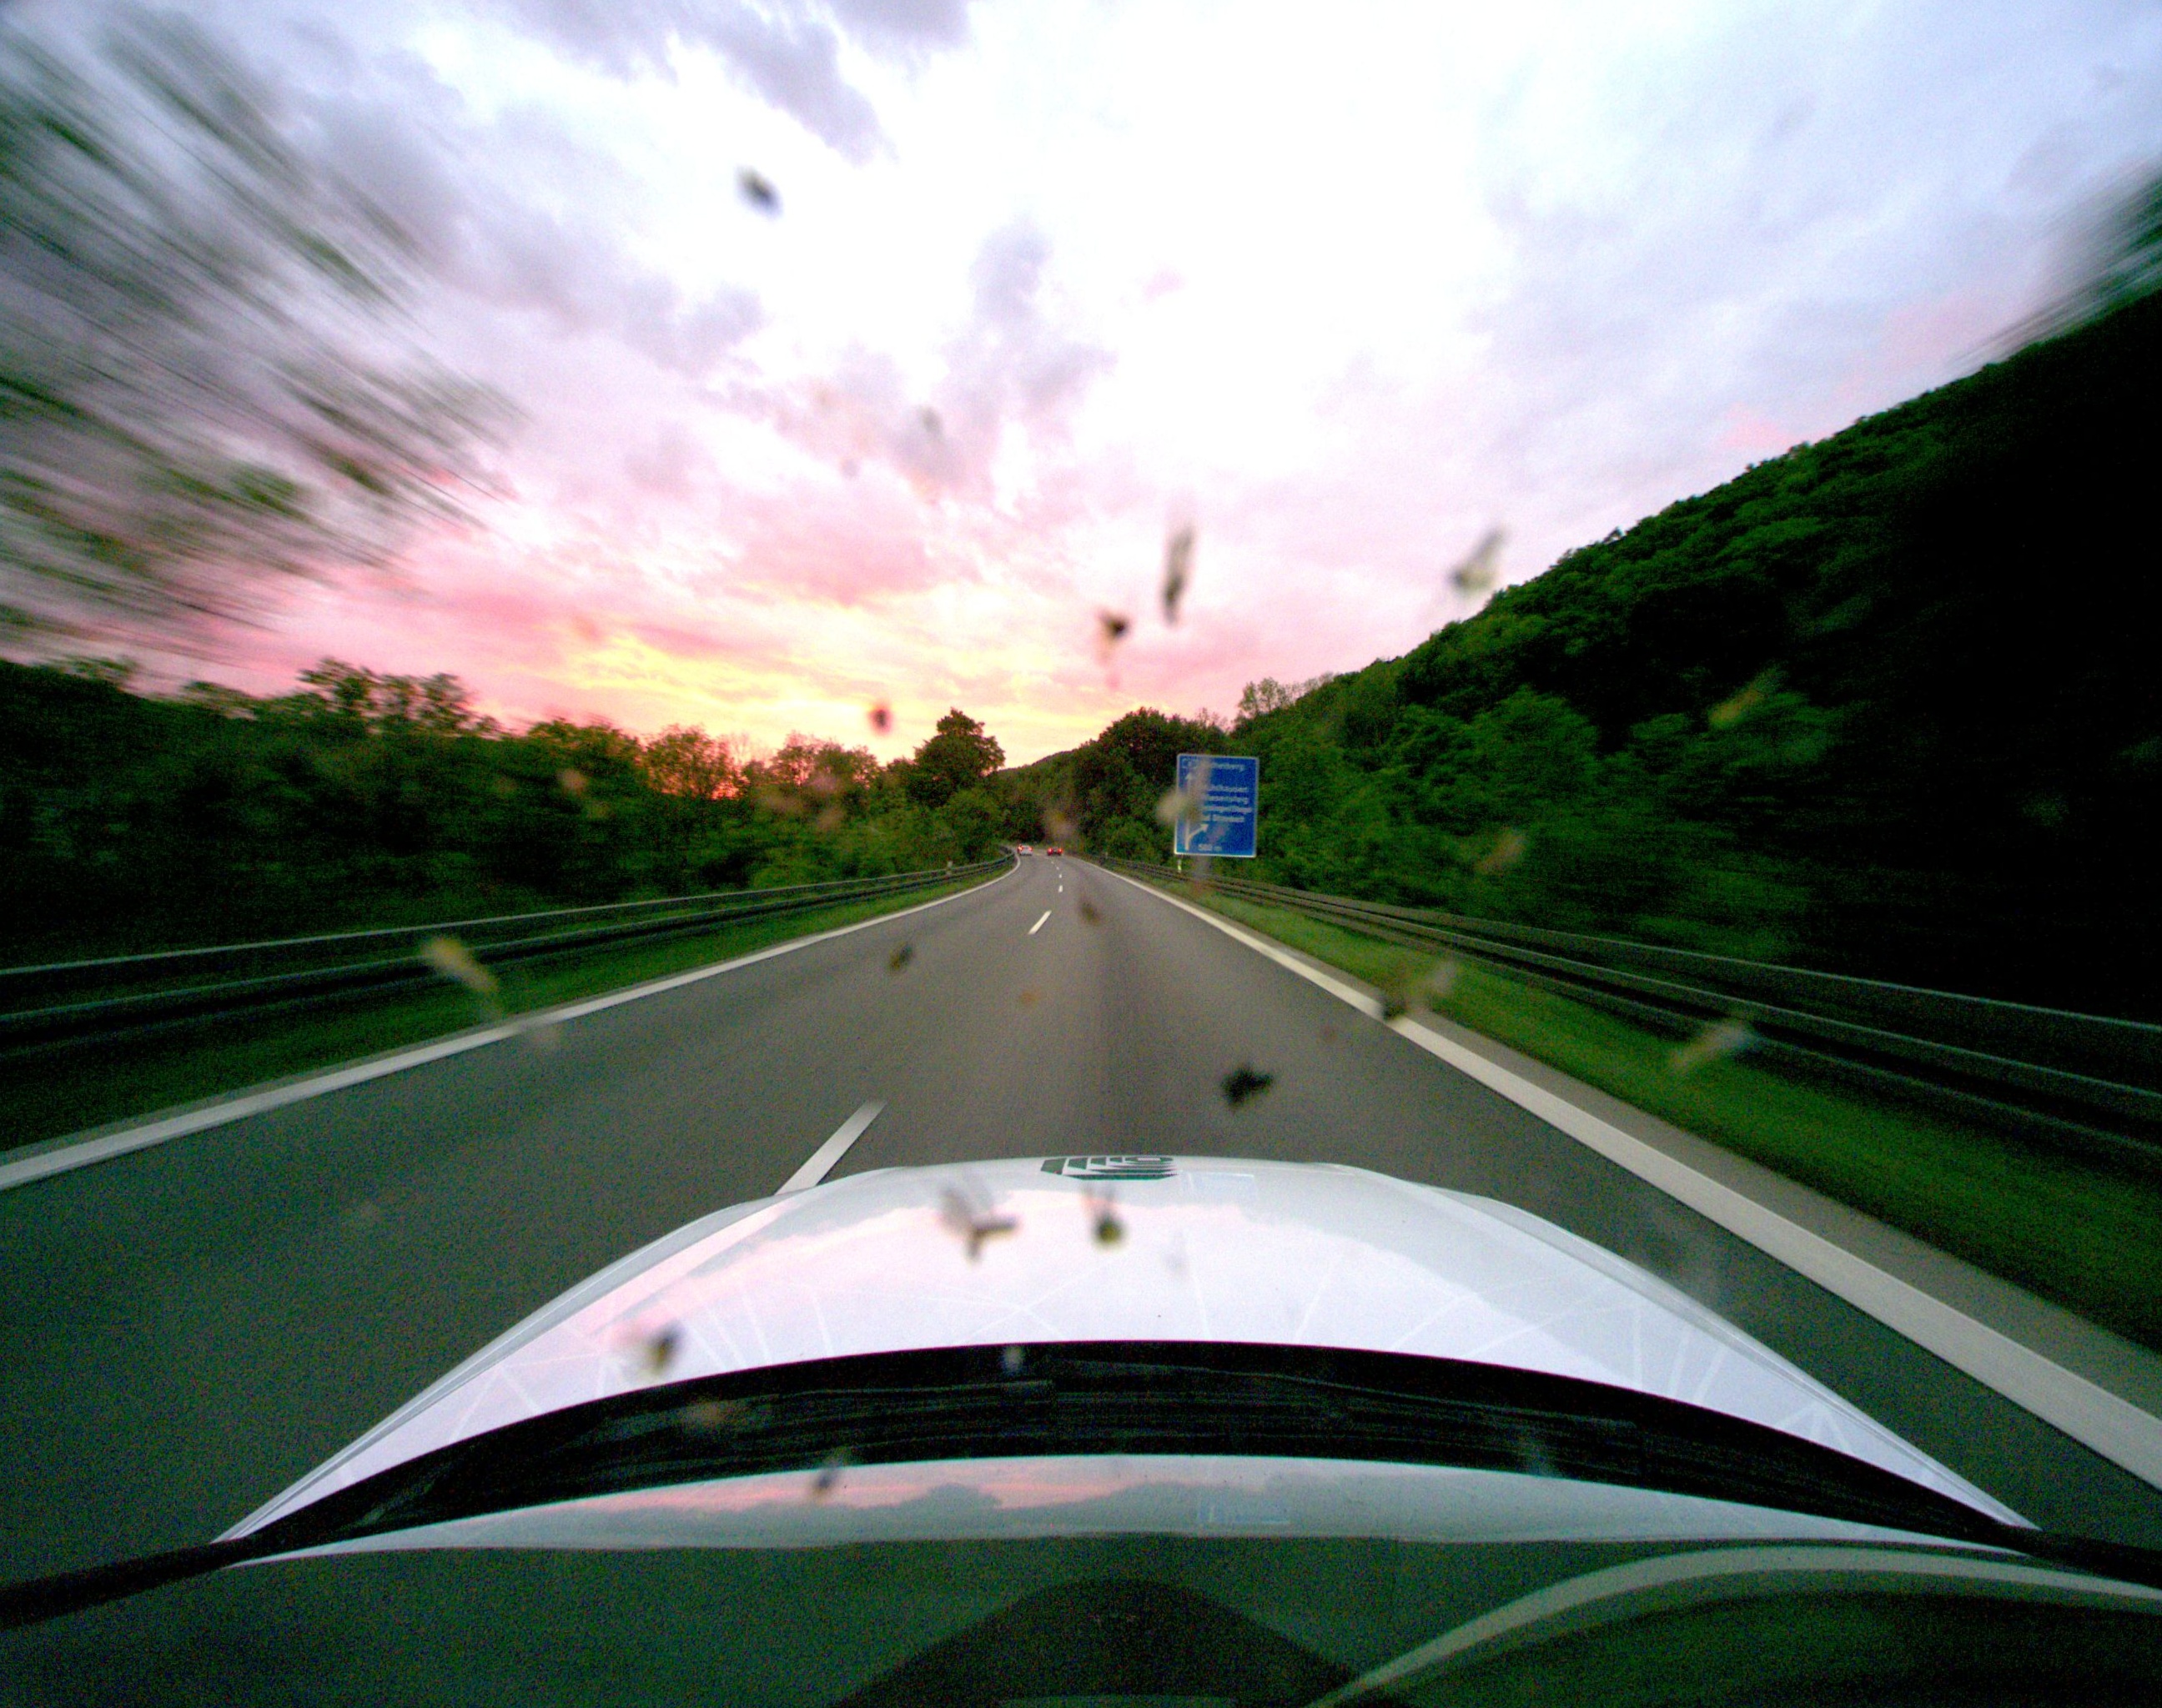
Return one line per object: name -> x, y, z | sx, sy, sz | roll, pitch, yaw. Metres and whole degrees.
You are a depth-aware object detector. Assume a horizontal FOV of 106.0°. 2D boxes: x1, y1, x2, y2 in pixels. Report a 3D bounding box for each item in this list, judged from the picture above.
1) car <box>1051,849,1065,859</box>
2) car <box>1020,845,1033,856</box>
car -> -3.405, -0.014, 120.217 | 1.871, 1.466, 4.002 | 0, -1, 2
car -> -7.972, -0.492, 120.050 | 1.713, 1.501, 3.998 | 0, -1, -1
